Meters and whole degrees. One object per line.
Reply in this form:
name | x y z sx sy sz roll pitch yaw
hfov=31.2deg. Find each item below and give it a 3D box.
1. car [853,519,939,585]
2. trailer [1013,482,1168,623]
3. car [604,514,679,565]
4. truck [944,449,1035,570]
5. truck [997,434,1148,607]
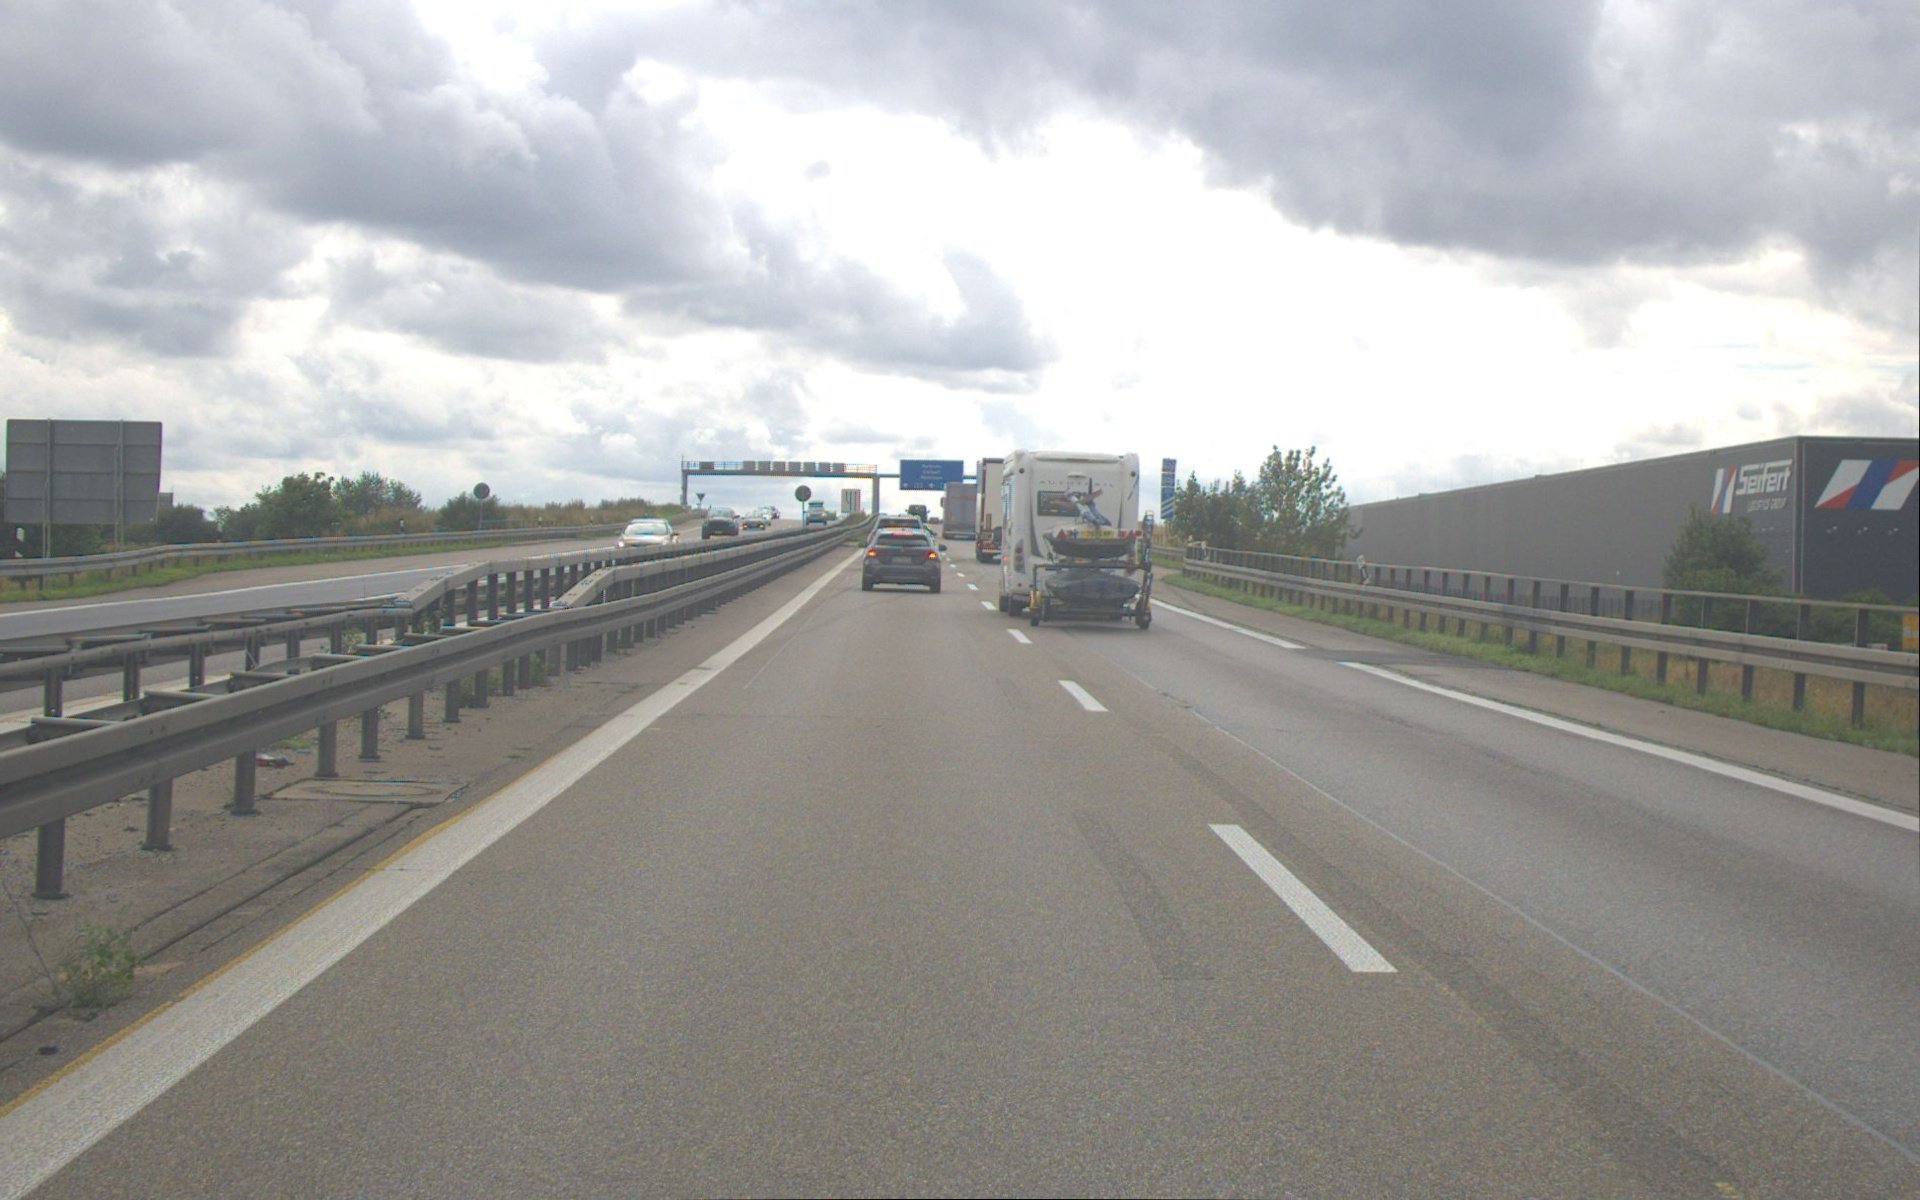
car | -1.443 -1.082 78.935 1.746 1.448 4.000 1 0 2
trailer | 2.071 -0.744 54.893 2.338 2.129 4.000 1 0 2
car | -9.816 -1.853 106.311 1.906 1.508 4.730 1 1 -1
truck | 1.093 -3.442 133.590 3.339 4.519 8.017 1 0 0
truck | 1.965 -1.399 62.124 2.482 2.940 5.815 1 0 0
